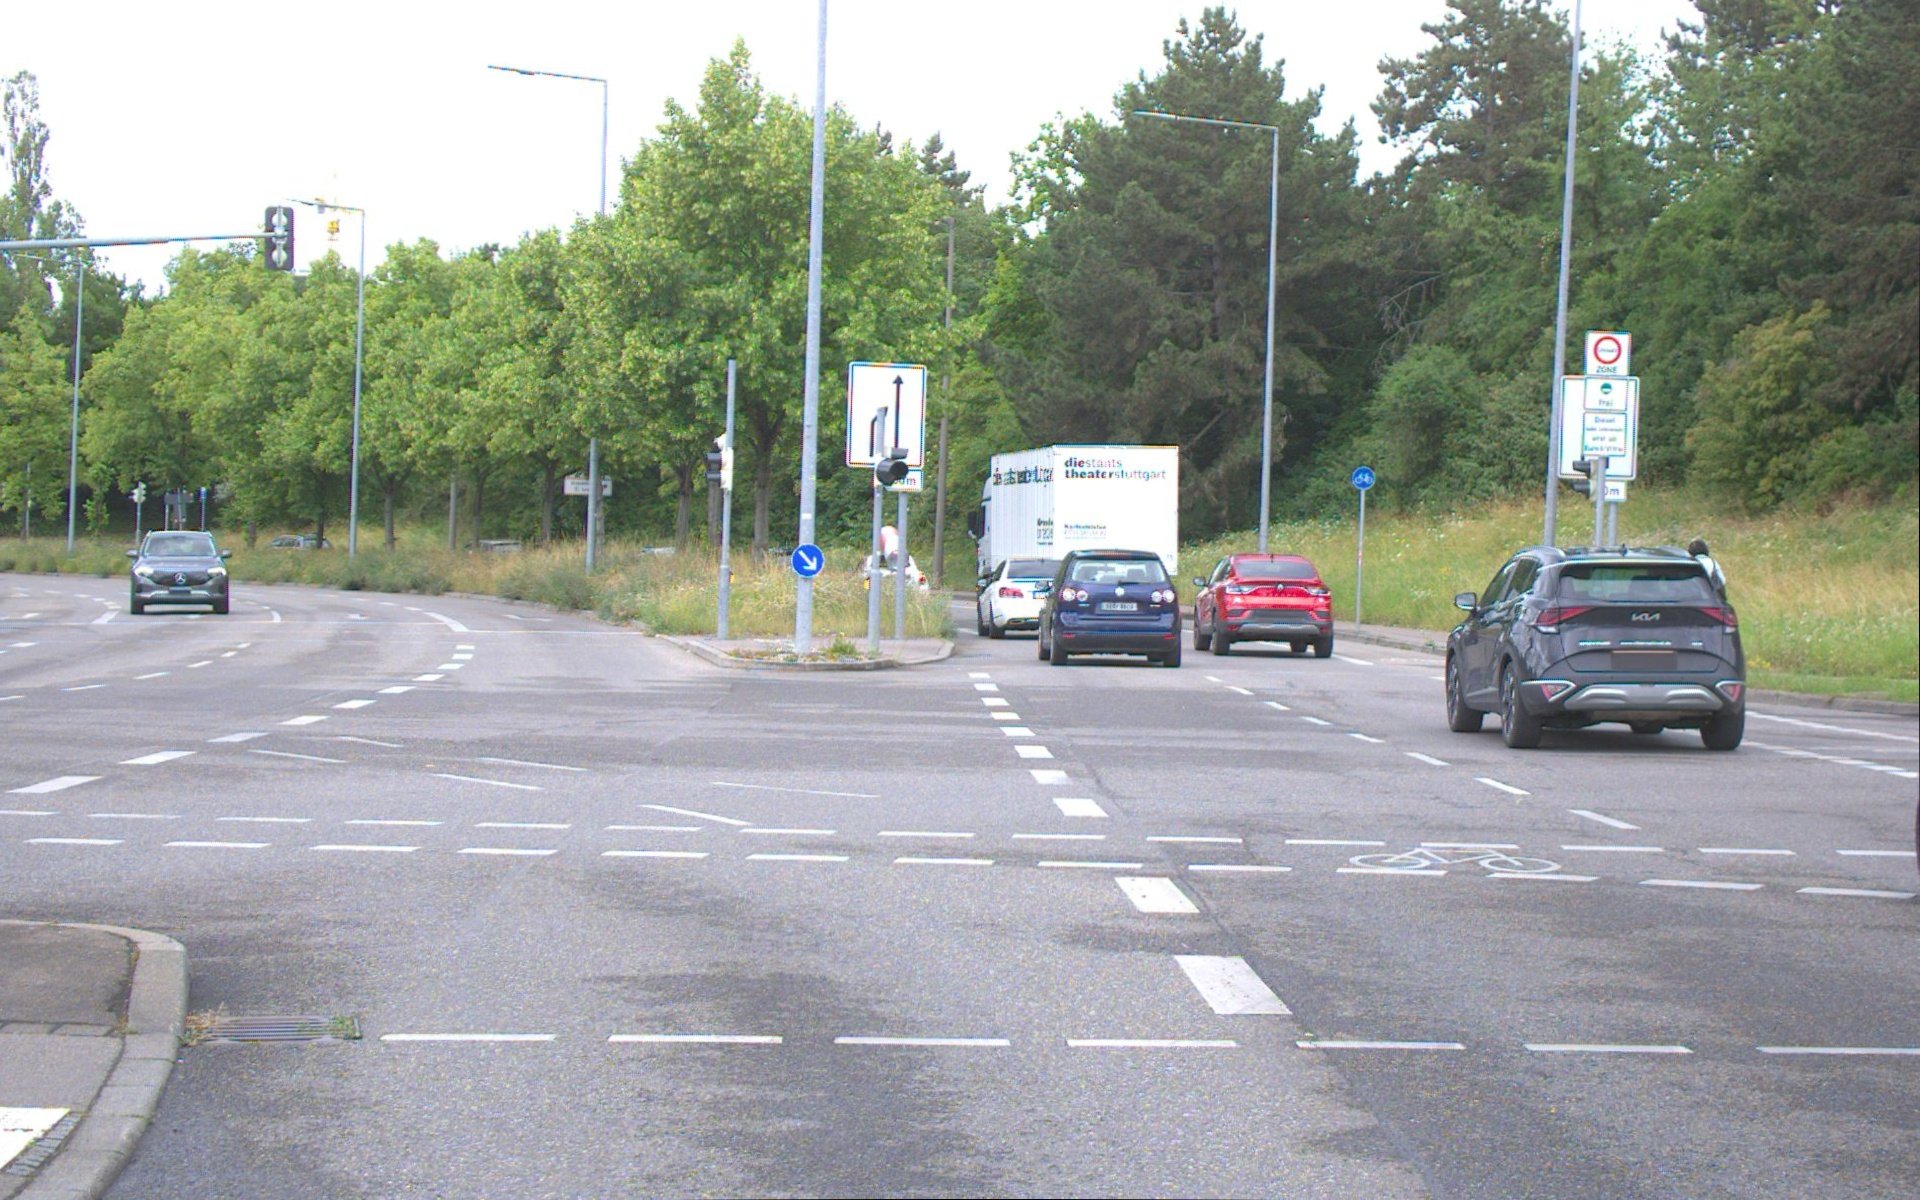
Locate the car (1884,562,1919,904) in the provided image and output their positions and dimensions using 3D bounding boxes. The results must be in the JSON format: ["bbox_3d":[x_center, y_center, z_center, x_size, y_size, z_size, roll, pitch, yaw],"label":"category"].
[{"bbox_3d":[4.945,0.605,12.579,1.778,1.416,4.459,1,1,-2],"label":"car"}]

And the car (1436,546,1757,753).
[{"bbox_3d":[5.188,0.351,28.512,1.778,1.541,4.025,1,1,-2],"label":"car"}]

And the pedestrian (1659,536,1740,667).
[{"bbox_3d":[9.346,0.010,43.471,0.814,1.622,0.791,1,1,-1],"label":"pedestrian"}]

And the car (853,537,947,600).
[{"bbox_3d":[-1.570,-0.835,88.893,1.777,1.541,4.026,1,1,-10],"label":"car"}]

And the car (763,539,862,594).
[{"bbox_3d":[-4.300,-0.982,99.491,1.777,1.541,4.026,0,1,-19],"label":"car"}]

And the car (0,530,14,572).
[{"bbox_3d":[-33.990,-1.707,118.445,1.780,1.438,4.426,-1,1,-28],"label":"car"}]

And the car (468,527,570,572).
[{"bbox_3d":[-15.907,-1.837,123.923,1.778,1.541,4.024,0,2,-39],"label":"car"}]

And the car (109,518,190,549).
[{"bbox_3d":[-41.681,-3.424,176.799,1.781,1.541,4.018,1,1,30],"label":"car"}]

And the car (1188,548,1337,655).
[{"bbox_3d":[4.654,-0.012,53.344,1.778,1.541,4.025,1,1,-2],"label":"car"}]

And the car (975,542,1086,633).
[{"bbox_3d":[1.238,-0.255,61.873,1.778,1.541,4.025,1,1,-2],"label":"car"}]

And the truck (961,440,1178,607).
[{"bbox_3d":[2.209,-1.661,74.601,2.739,3.317,11.410,1,1,-8],"label":"truck"}]

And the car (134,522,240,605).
[{"bbox_3d":[-14.980,-0.735,66.742,1.777,1.541,4.226,1,1,-10],"label":"car"}]

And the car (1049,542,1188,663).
[{"bbox_3d":[2.120,0.001,46.892,1.778,1.541,4.025,1,1,1],"label":"car"}]
